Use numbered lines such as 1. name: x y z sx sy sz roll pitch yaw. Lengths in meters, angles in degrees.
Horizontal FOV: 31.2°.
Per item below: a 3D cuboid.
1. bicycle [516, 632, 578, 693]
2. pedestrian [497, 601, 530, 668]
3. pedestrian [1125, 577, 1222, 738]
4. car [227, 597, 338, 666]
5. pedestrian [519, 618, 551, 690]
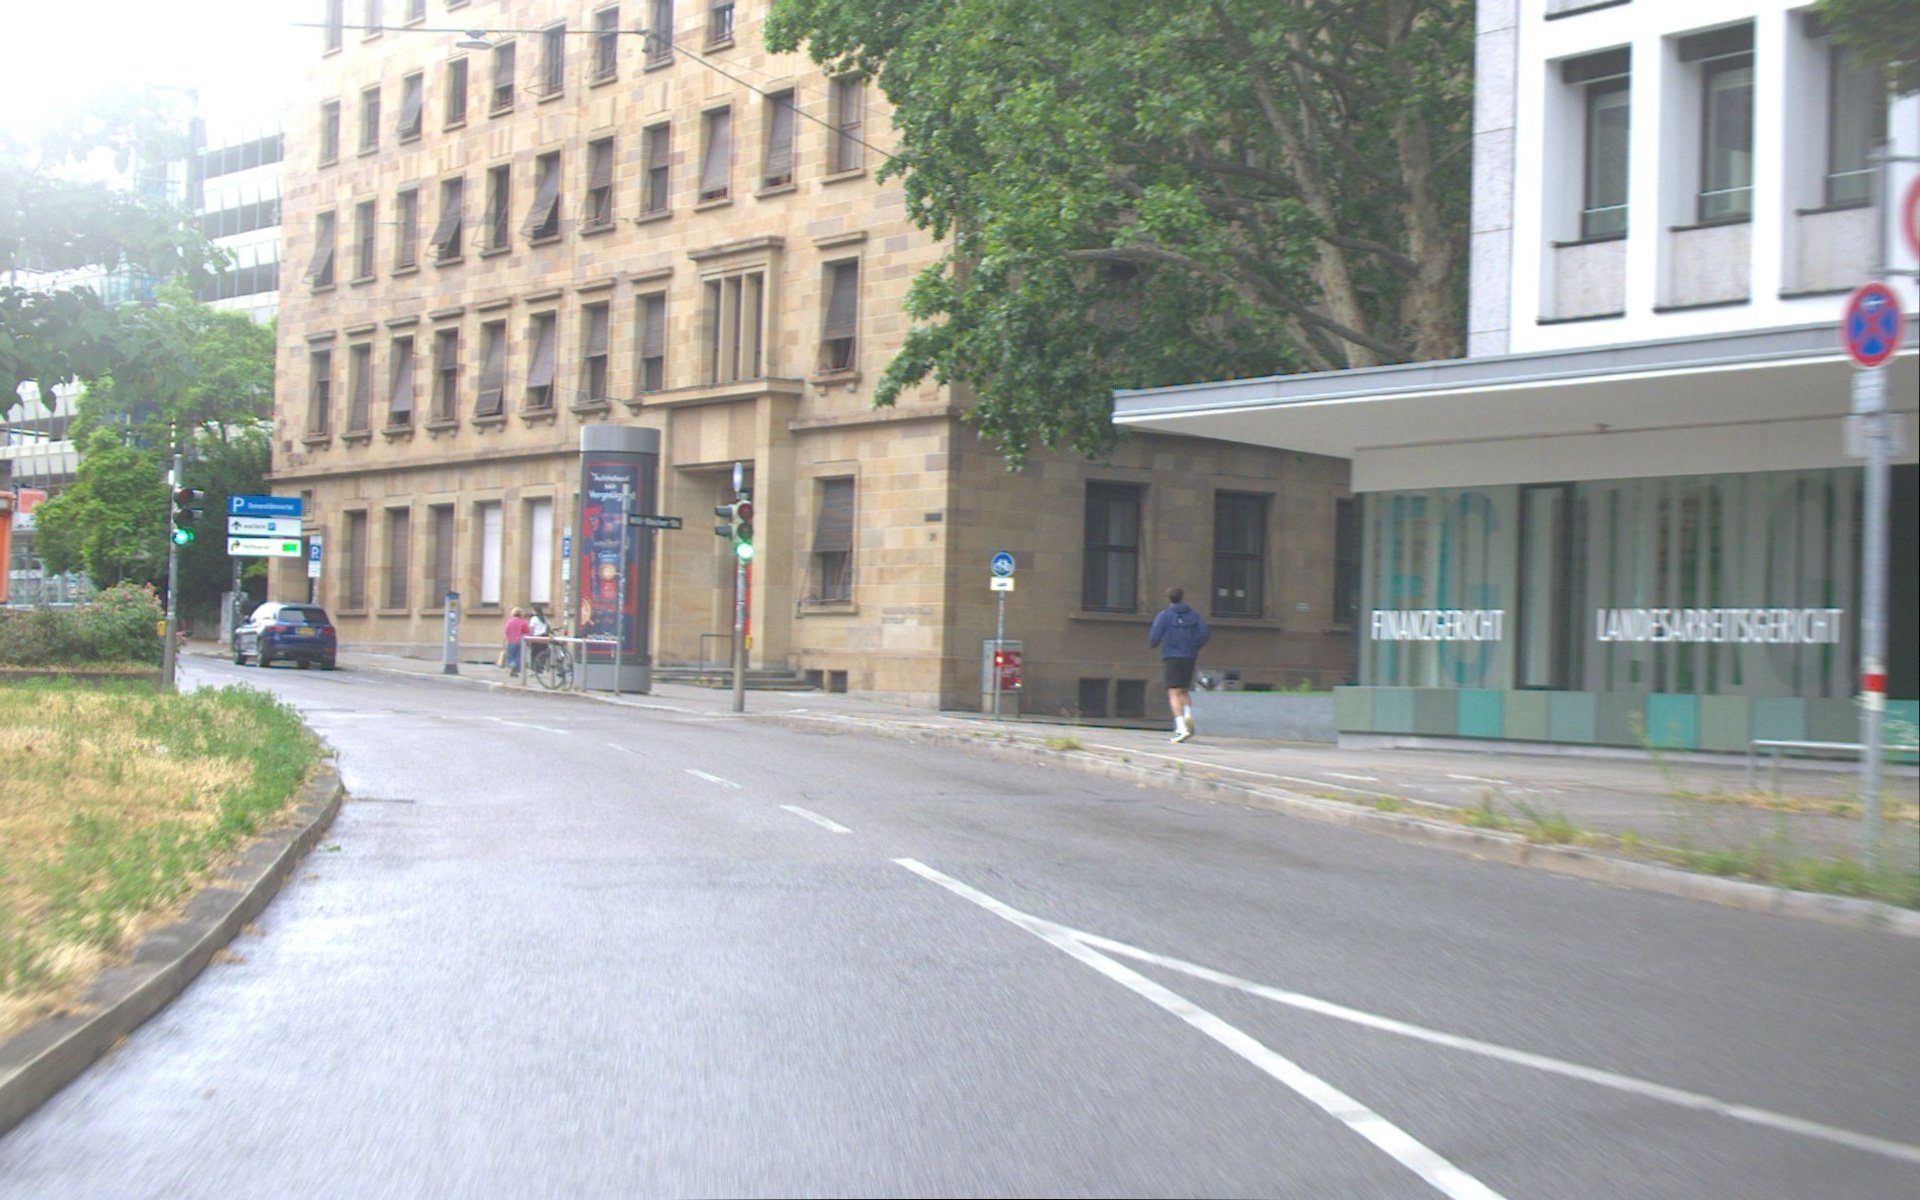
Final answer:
1. bicycle: -7.193 1.075 59.821 0.489 1.009 1.928 3 -1 -24
2. pedestrian: -10.116 0.781 77.887 0.524 1.487 0.674 3 -1 -21
3. pedestrian: 2.400 0.646 38.705 0.779 1.766 0.863 2 -1 -15
4. car: -16.942 0.770 85.859 1.768 1.614 4.158 3 -1 -24
5. pedestrian: -9.668 1.226 78.243 0.524 1.597 0.674 3 -1 -20
